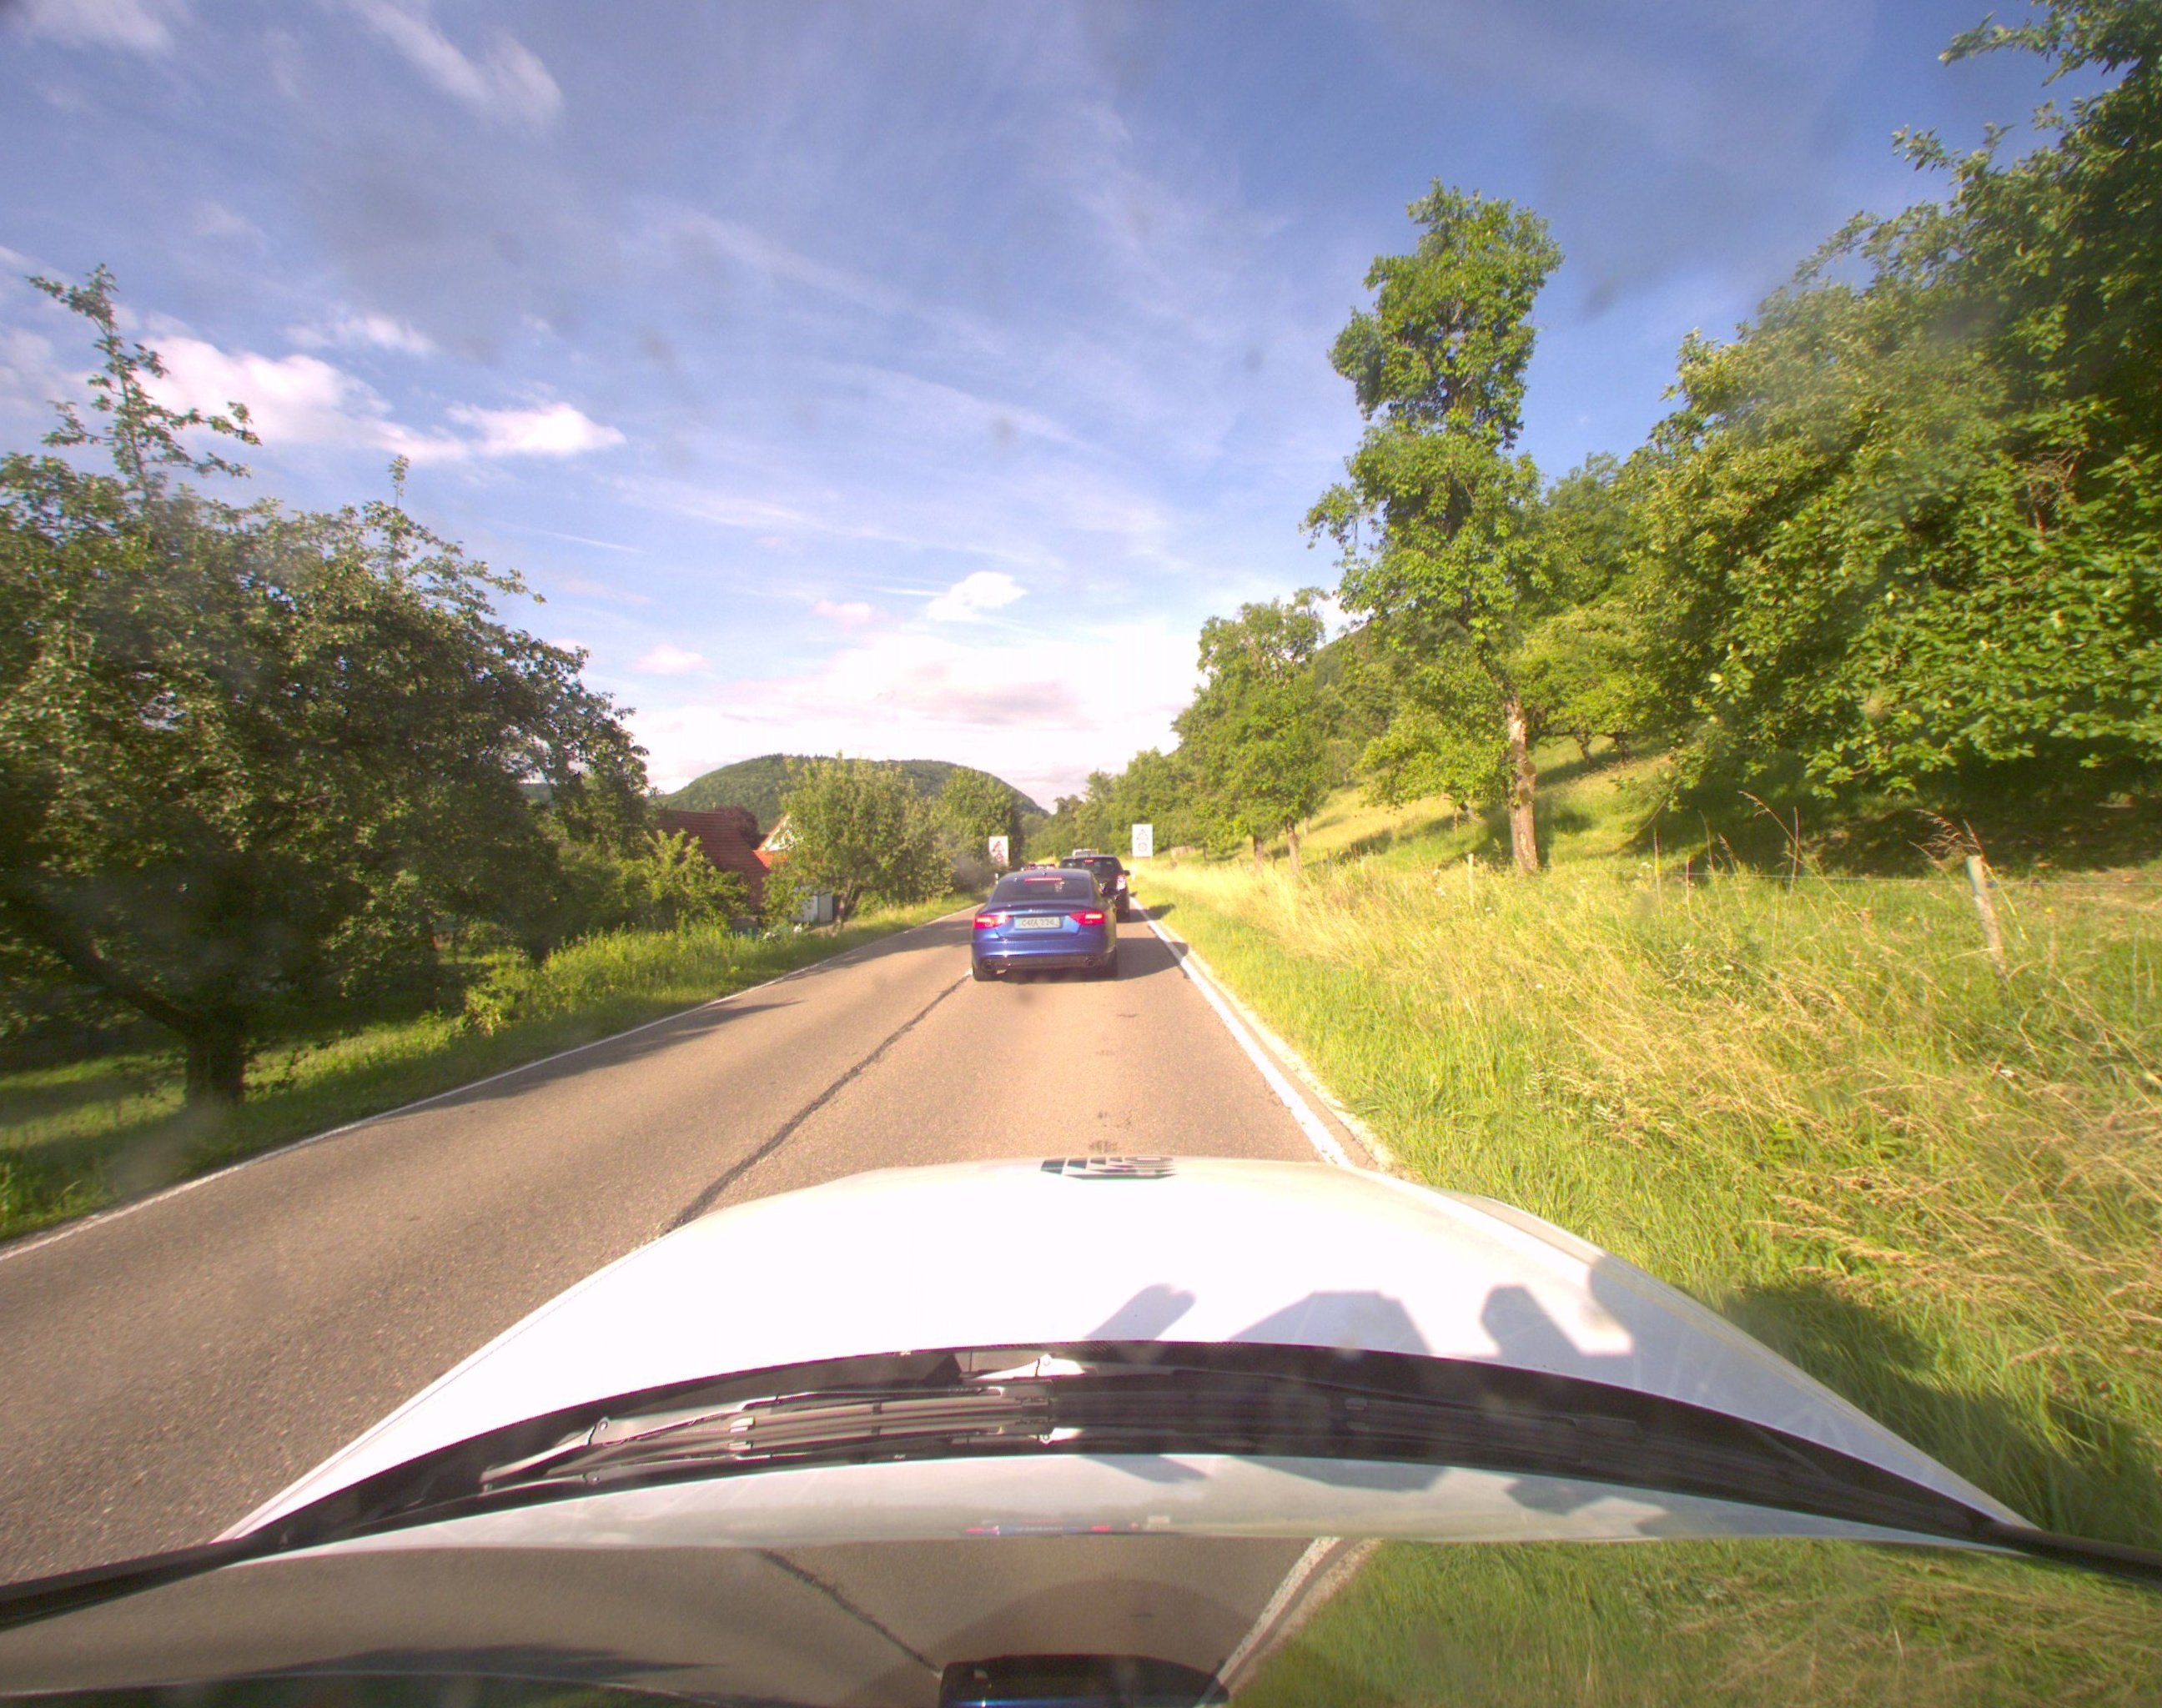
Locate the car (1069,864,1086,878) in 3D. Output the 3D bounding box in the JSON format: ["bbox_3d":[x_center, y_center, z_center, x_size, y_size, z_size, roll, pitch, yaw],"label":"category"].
[{"bbox_3d":[-0.428,1.993,95.791,1.745,1.496,3.772,1,0,-5],"label":"car"}]

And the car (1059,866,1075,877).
[{"bbox_3d":[-1.919,2.401,111.496,1.746,1.496,3.768,1,0,-7],"label":"car"}]

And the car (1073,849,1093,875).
[{"bbox_3d":[0.182,0.739,77.481,1.787,2.453,3.916,1,0,-2],"label":"car"}]

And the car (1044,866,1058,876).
[{"bbox_3d":[-4.941,2.751,132.416,1.748,1.496,3.766,1,0,-9],"label":"car"}]

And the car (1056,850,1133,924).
[{"bbox_3d":[0.338,0.734,19.929,1.687,1.624,3.790,0,0,1],"label":"car"}]

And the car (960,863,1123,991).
[{"bbox_3d":[-0.390,0.847,11.306,1.799,1.382,4.216,-2,-1,2],"label":"car"}]

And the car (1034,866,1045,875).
[{"bbox_3d":[-7.325,2.849,143.953,1.559,1.496,3.765,1,0,-10],"label":"car"}]

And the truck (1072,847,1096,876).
[{"bbox_3d":[0.265,0.627,67.967,1.943,2.345,5.094,1,0,0],"label":"truck"}]

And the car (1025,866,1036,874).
[{"bbox_3d":[-9.666,3.105,155.535,1.559,1.496,3.764,1,0,-11],"label":"car"}]
